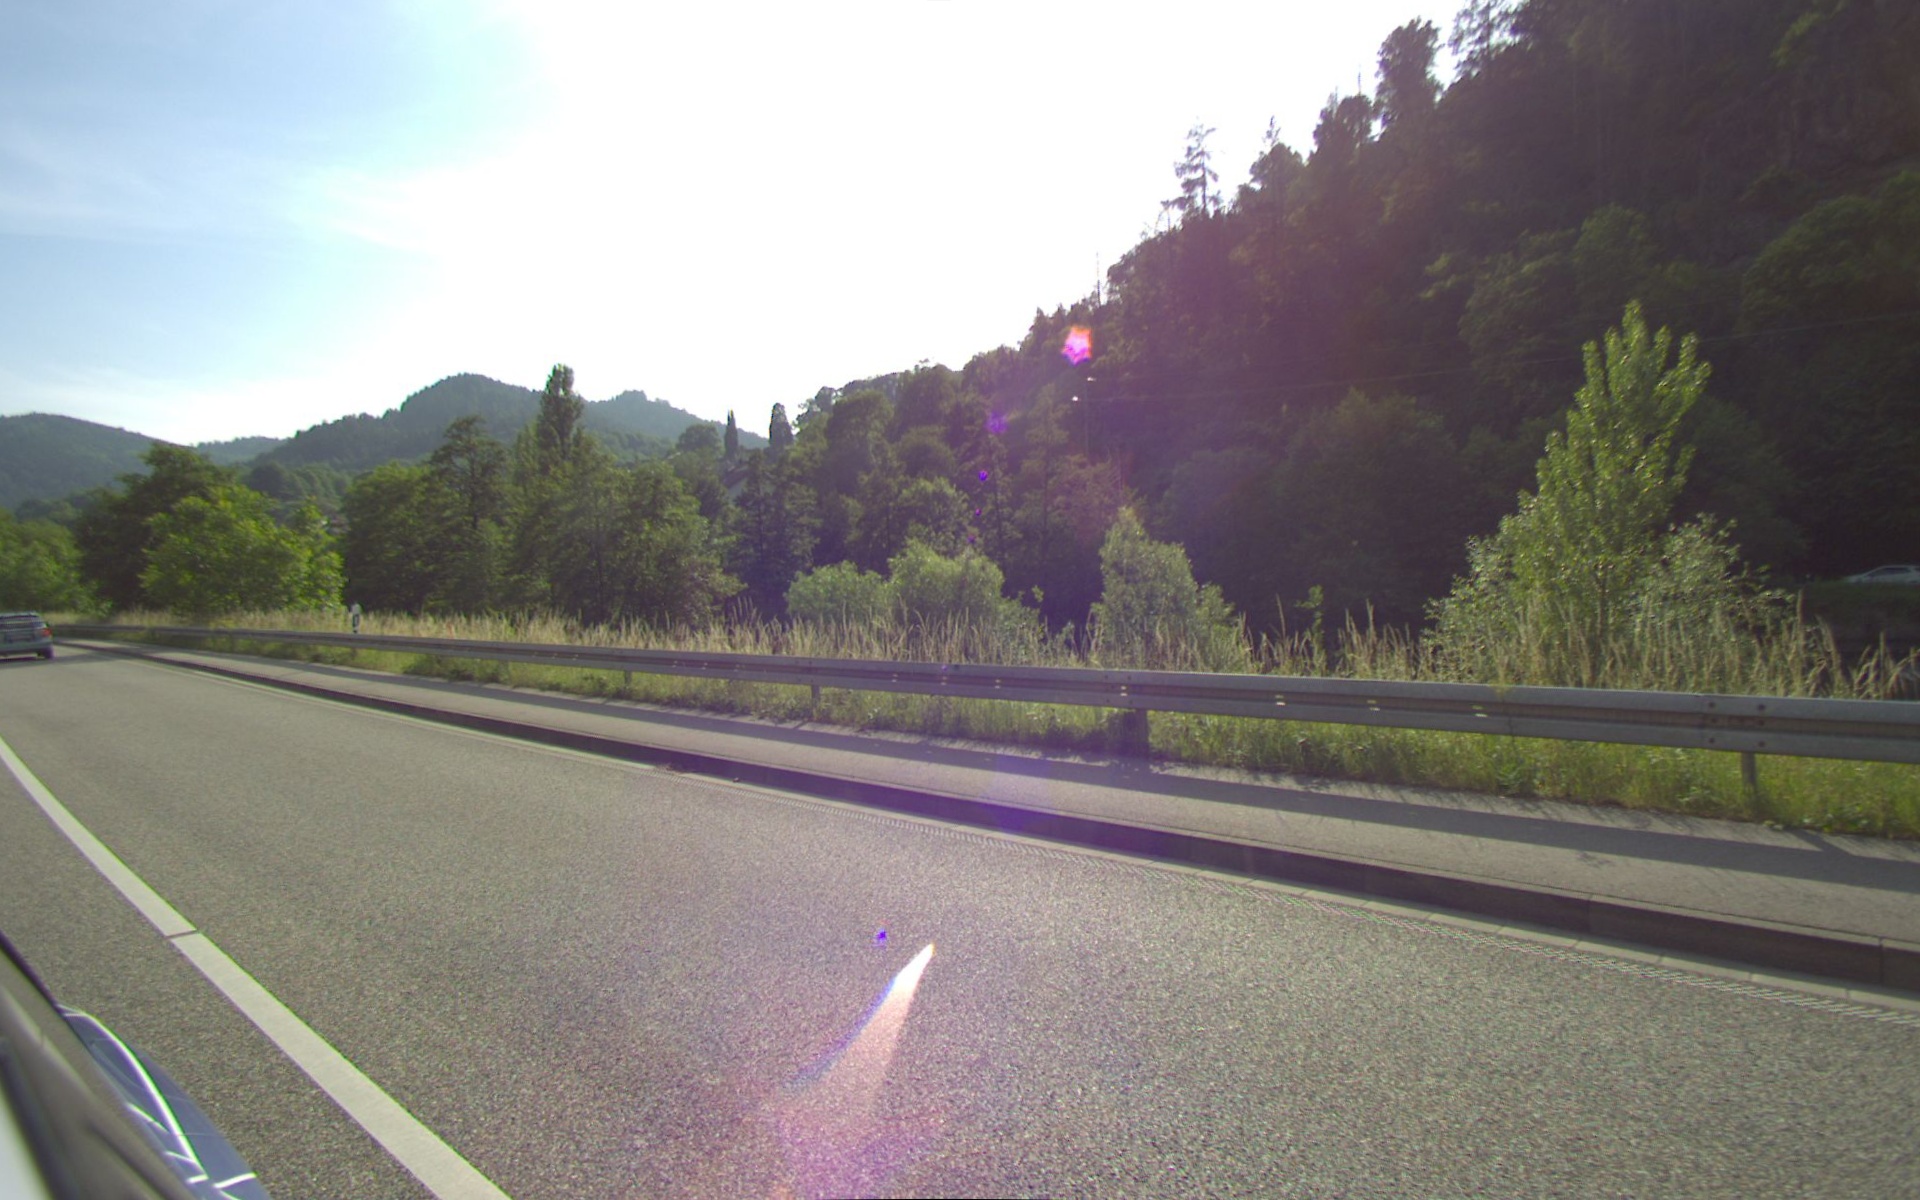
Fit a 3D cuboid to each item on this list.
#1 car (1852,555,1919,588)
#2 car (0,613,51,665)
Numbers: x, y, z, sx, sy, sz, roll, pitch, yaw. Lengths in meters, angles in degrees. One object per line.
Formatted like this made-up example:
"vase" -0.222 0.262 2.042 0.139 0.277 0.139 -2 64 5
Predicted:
"car" 54.691 -1.660 58.920 3.993 1.745 1.854 -1 4 37
"car" -29.950 1.219 31.833 3.999 1.490 1.561 -2 1 42
